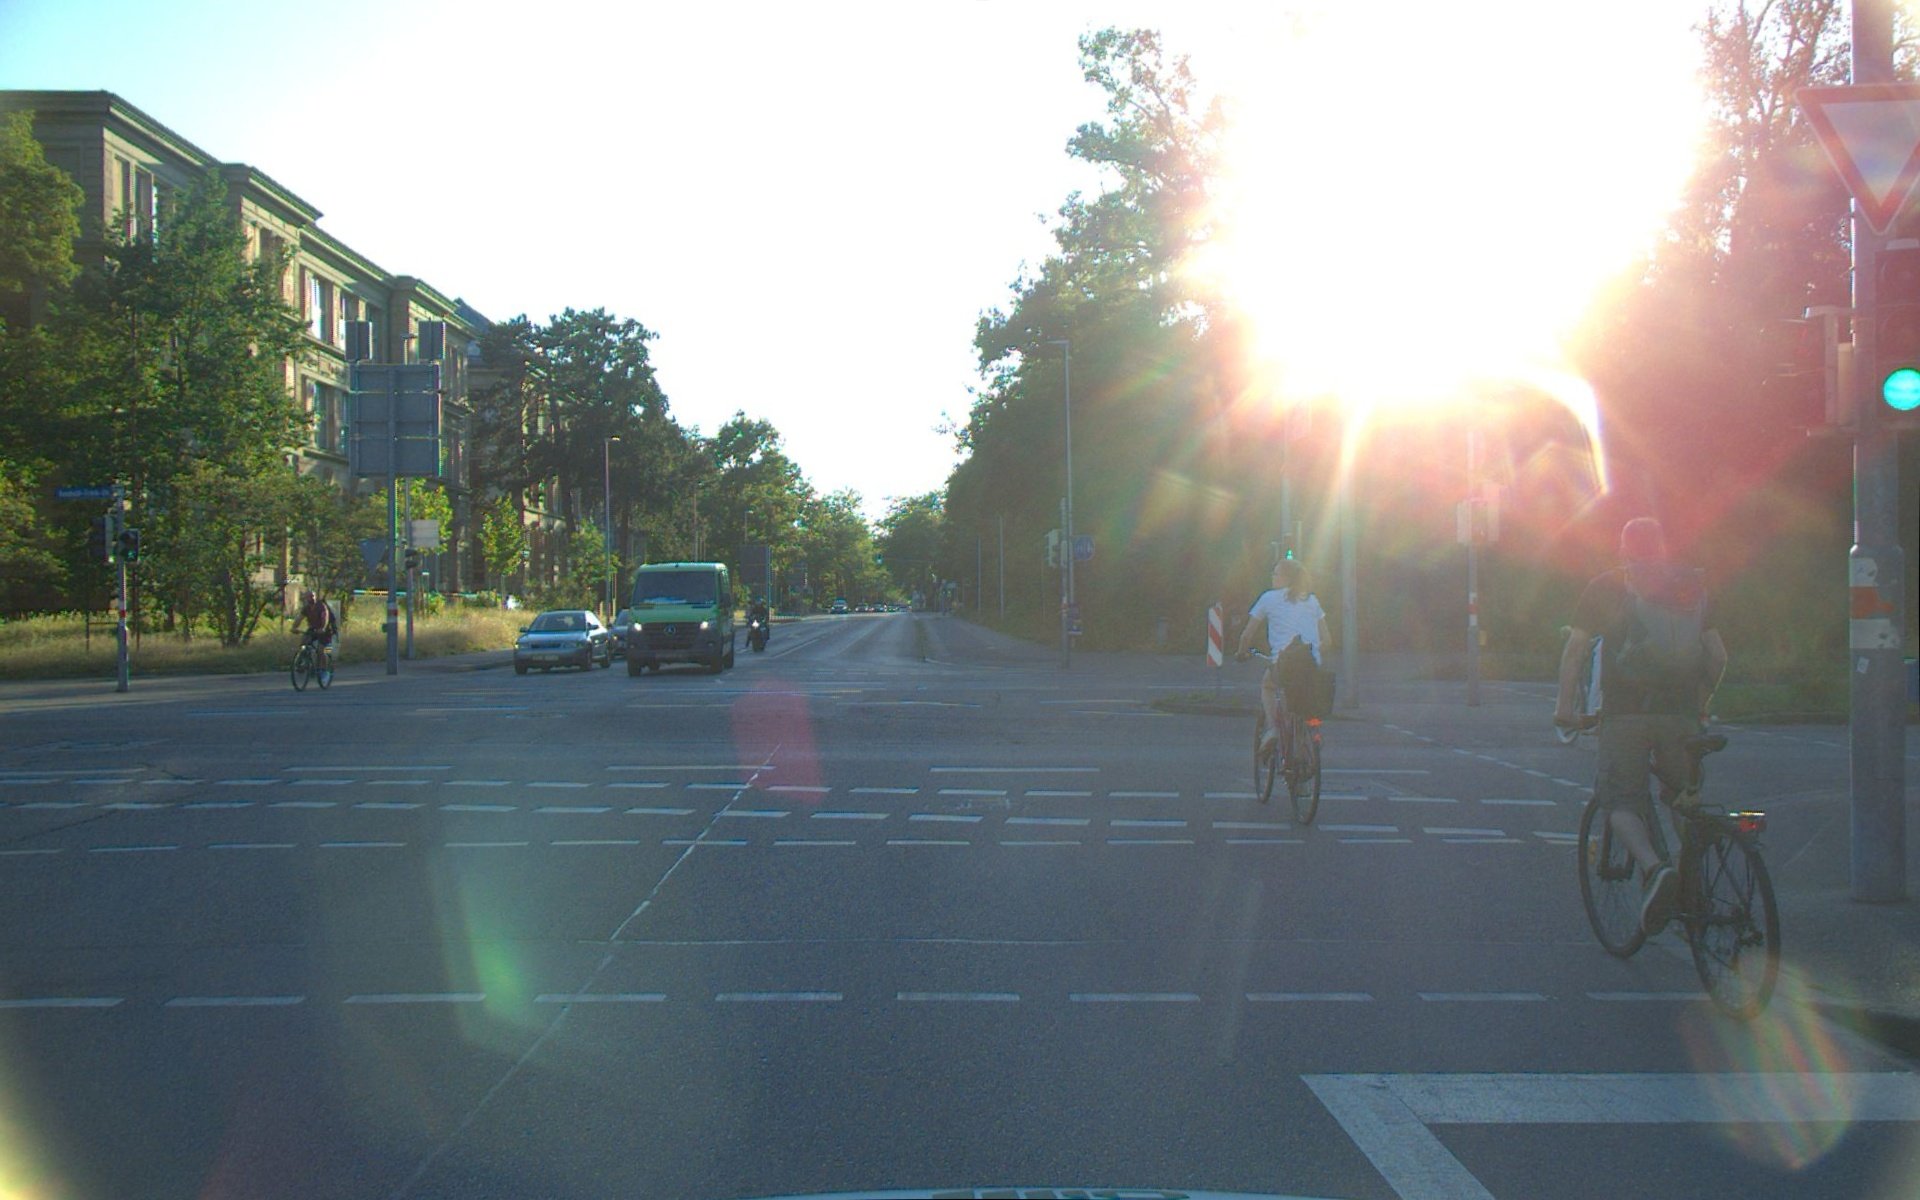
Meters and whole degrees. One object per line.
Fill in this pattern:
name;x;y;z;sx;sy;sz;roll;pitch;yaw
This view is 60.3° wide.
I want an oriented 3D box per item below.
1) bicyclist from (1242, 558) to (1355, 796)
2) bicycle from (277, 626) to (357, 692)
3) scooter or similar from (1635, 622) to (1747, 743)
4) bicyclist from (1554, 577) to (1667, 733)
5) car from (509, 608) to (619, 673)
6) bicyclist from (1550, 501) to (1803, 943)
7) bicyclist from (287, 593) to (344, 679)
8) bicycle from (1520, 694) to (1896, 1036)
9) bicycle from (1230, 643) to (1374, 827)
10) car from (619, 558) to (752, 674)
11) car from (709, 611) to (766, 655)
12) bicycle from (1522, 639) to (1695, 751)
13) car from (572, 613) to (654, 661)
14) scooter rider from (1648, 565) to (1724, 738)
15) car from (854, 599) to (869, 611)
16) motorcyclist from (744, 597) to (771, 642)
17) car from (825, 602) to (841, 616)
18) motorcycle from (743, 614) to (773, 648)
bicyclist;2.379;0.523;11.692;0.591;1.613;0.909;0;0;-1
bicycle;-11.863;1.074;30.585;0.672;1.143;2.168;-1;0;-1
scooter or similar;7.661;0.844;17.388;0.550;1.210;1.422;0;-1;0
bicyclist;6.580;0.541;16.760;0.745;1.544;0.855;0;0;-8
car;-9.371;0.925;39.437;1.695;1.433;4.139;-1;0;-1
bicyclist;2.908;0.473;6.781;0.684;1.696;0.798;1;0;0
bicyclist;-11.866;0.655;30.462;0.669;1.539;0.955;-1;0;-1
bicycle;2.903;0.971;6.643;0.684;1.081;1.825;0;0;0
bicycle;2.378;0.903;11.703;0.601;1.158;1.884;0;0;-1
car;-5.913;0.334;36.339;1.997;2.318;5.939;-1;0;-1
car;-8.960;1.292;66.805;1.729;1.664;4.512;-1;0;-1
bicycle;6.564;0.934;16.866;0.756;1.024;2.012;0;0;-8
car;-10.297;1.074;49.324;1.729;1.351;3.642;-1;0;-1
scooter rider;7.655;0.537;17.454;0.554;1.797;0.505;-1;-1;0
car;-13.631;0.684;229.179;1.954;1.668;3.996;-1;0;-4
motorcyclist;-6.333;0.619;51.762;0.734;1.382;0.704;-1;-1;-1
car;-14.009;0.950;182.799;1.735;1.500;3.772;-1;0;-5
motorcycle;-6.326;0.964;51.801;0.739;1.019;1.878;-1;0;-1
